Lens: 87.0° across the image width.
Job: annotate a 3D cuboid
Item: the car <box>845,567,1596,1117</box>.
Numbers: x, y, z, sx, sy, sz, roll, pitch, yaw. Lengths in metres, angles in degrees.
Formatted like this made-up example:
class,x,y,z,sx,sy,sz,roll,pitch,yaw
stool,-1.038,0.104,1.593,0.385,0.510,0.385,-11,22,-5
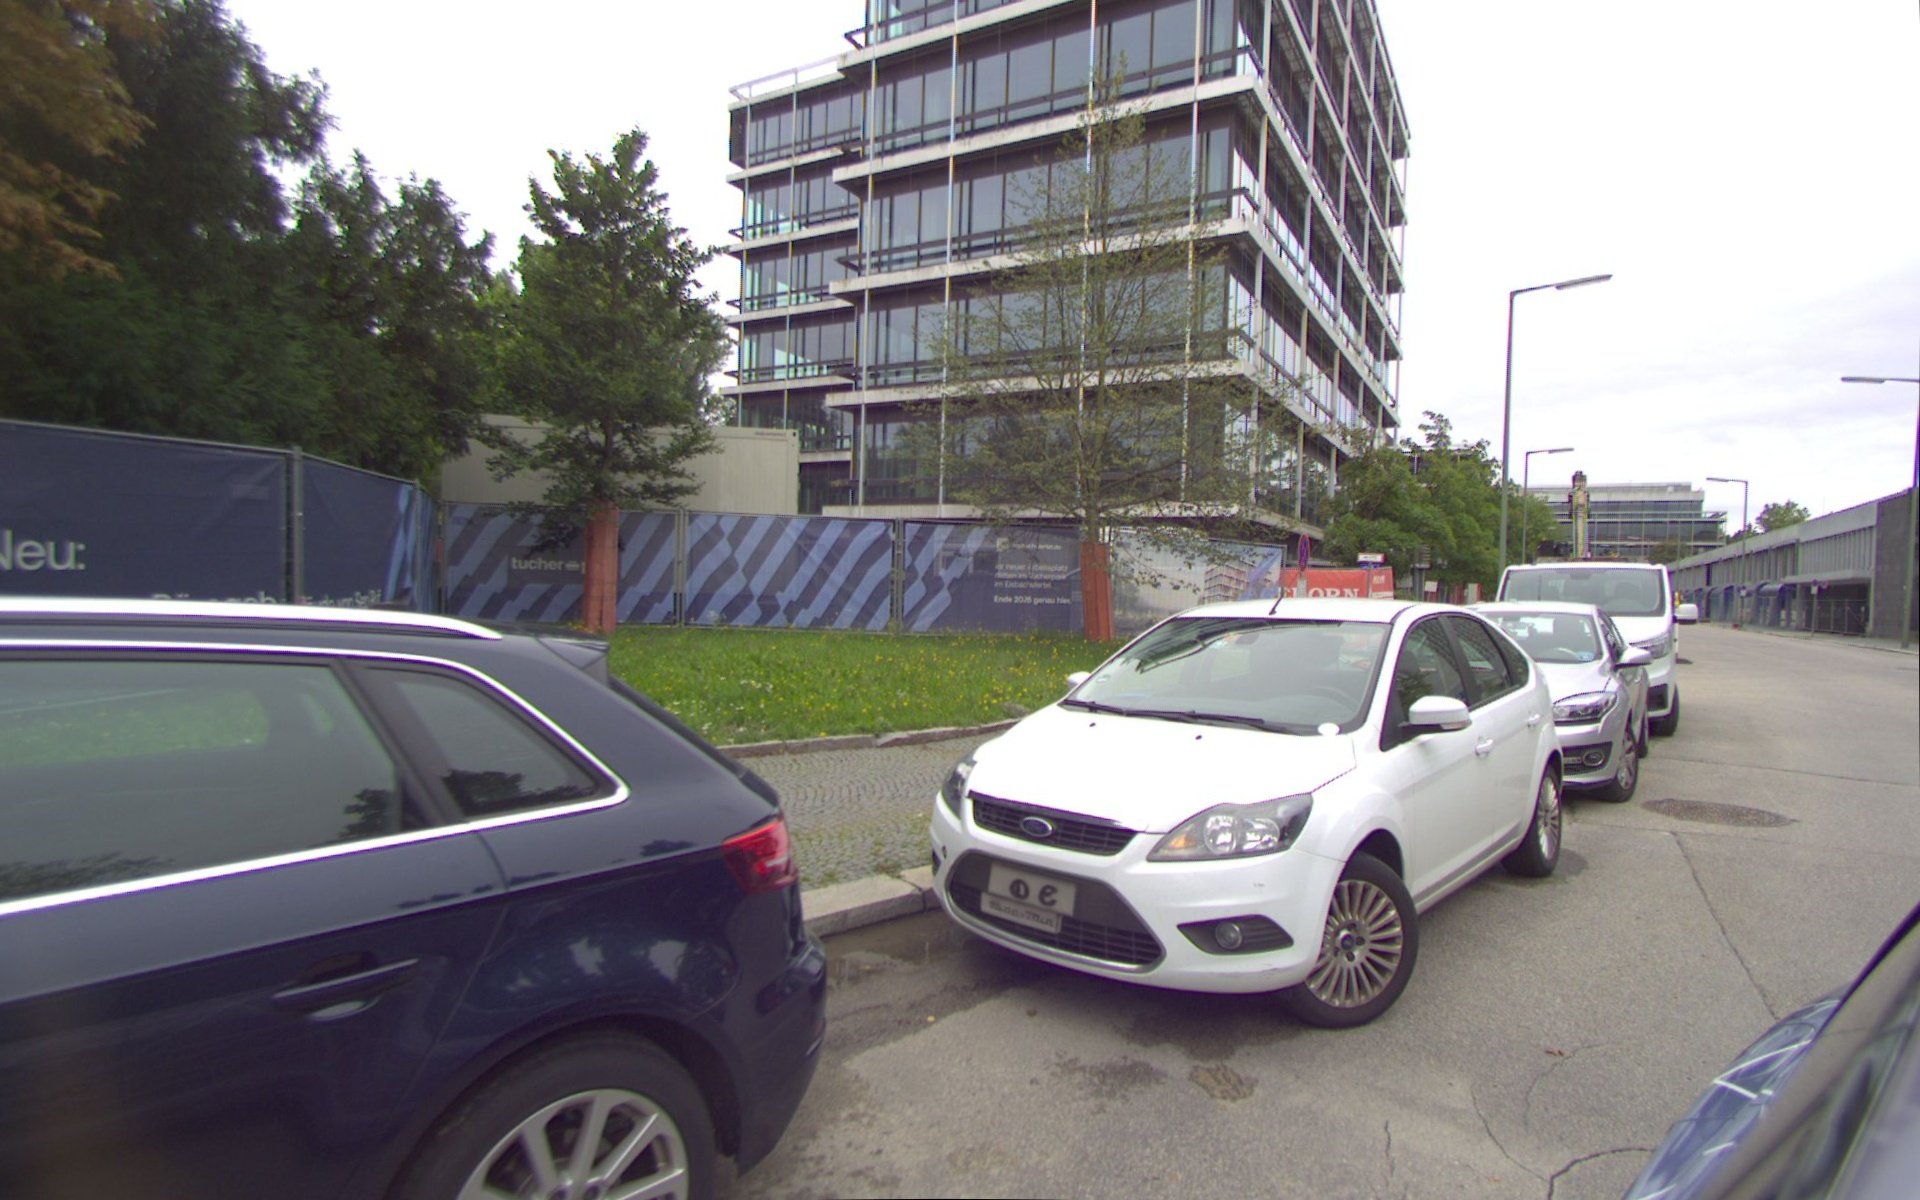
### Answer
class,x,y,z,sx,sy,sz,roll,pitch,yaw
car,1.610,0.661,4.950,1.767,1.504,4.155,3,2,43

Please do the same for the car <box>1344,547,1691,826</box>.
class,x,y,z,sx,sy,sz,roll,pitch,yaw
car,5.022,0.501,8.765,1.989,1.749,4.390,2,2,37

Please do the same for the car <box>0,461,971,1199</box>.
class,x,y,z,sx,sy,sz,roll,pitch,yaw
car,-2.186,0.500,1.597,4.254,1.455,1.875,1,2,-43

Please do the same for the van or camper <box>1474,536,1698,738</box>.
class,x,y,z,sx,sy,sz,roll,pitch,yaw
van or camper,8.150,0.313,12.961,1.988,2.038,5.308,2,2,36

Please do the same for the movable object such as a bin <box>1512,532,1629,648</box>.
class,x,y,z,sx,sy,sz,roll,pitch,yaw
movable object such as a bin,22.518,-0.426,37.763,3.223,3.762,8.917,2,2,29
